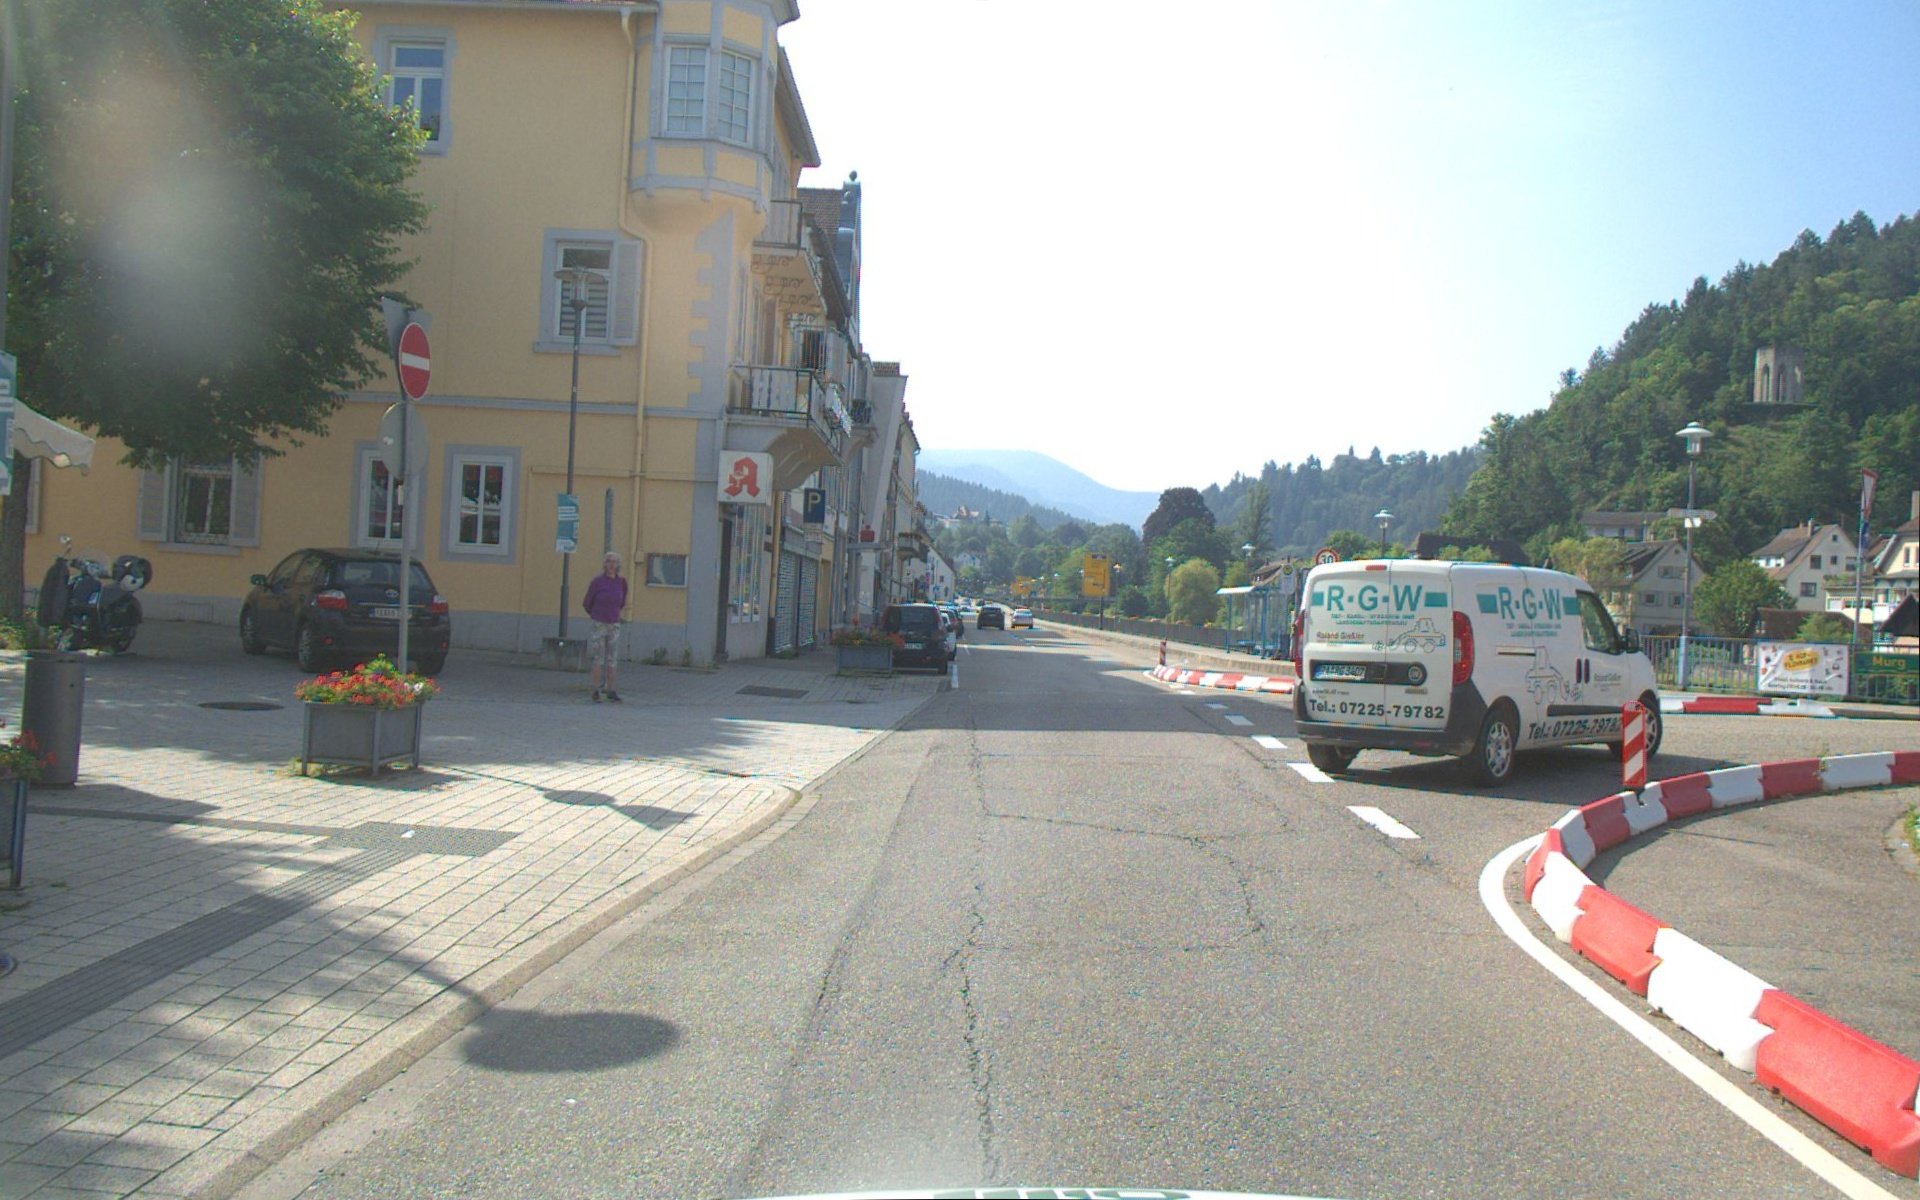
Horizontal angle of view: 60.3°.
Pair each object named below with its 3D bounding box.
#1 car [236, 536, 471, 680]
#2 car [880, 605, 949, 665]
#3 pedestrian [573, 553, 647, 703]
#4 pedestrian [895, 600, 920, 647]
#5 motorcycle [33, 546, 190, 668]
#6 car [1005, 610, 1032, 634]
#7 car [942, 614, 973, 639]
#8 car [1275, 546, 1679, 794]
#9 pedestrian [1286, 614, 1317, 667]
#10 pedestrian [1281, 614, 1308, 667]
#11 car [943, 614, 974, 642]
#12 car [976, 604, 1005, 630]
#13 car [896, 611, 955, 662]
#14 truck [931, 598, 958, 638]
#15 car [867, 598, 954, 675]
[{"bbox_3d":[-8.058,0.061,21.781,1.901,1.569,3.911,3,1,-35],"label":"car"},{"bbox_3d":[-1.166,0.886,43.490,1.711,1.473,3.275,2,0,-1],"label":"car"},{"bbox_3d":[-4.212,0.330,19.945,0.664,1.744,0.617,3,0,2],"label":"pedestrian"},{"bbox_3d":[-1.949,0.885,61.426,0.675,1.726,0.659,1,-1,28],"label":"pedestrian"},{"bbox_3d":[-10.469,0.049,20.498,0.867,1.384,2.088,2,2,-1],"label":"motorcycle"},{"bbox_3d":[4.495,1.672,127.463,1.953,1.691,4.000,3,0,0],"label":"car"},{"bbox_3d":[-0.138,1.381,86.798,1.532,1.241,3.275,2,0,-1],"label":"car"},{"bbox_3d":[4.864,0.524,15.216,1.819,1.939,4.285,2,2,44],"label":"car"},{"bbox_3d":[11.428,1.354,55.395,0.849,1.735,0.777,3,-1,2],"label":"pedestrian"},{"bbox_3d":[11.338,1.366,56.036,0.773,1.735,0.492,3,-1,2],"label":"pedestrian"},{"bbox_3d":[-0.099,1.564,92.942,1.711,1.473,3.275,2,0,-1],"label":"car"},{"bbox_3d":[2.139,1.181,116.501,1.953,1.691,4.000,3,0,0],"label":"car"},{"bbox_3d":[-1.050,1.096,51.218,1.711,1.473,3.794,2,0,-1],"label":"car"},{"bbox_3d":[-1.021,1.173,109.585,1.711,2.511,4.660,2,0,-1],"label":"truck"},{"bbox_3d":[-1.074,0.789,37.161,1.809,1.596,3.567,2,0,-1],"label":"car"}]
